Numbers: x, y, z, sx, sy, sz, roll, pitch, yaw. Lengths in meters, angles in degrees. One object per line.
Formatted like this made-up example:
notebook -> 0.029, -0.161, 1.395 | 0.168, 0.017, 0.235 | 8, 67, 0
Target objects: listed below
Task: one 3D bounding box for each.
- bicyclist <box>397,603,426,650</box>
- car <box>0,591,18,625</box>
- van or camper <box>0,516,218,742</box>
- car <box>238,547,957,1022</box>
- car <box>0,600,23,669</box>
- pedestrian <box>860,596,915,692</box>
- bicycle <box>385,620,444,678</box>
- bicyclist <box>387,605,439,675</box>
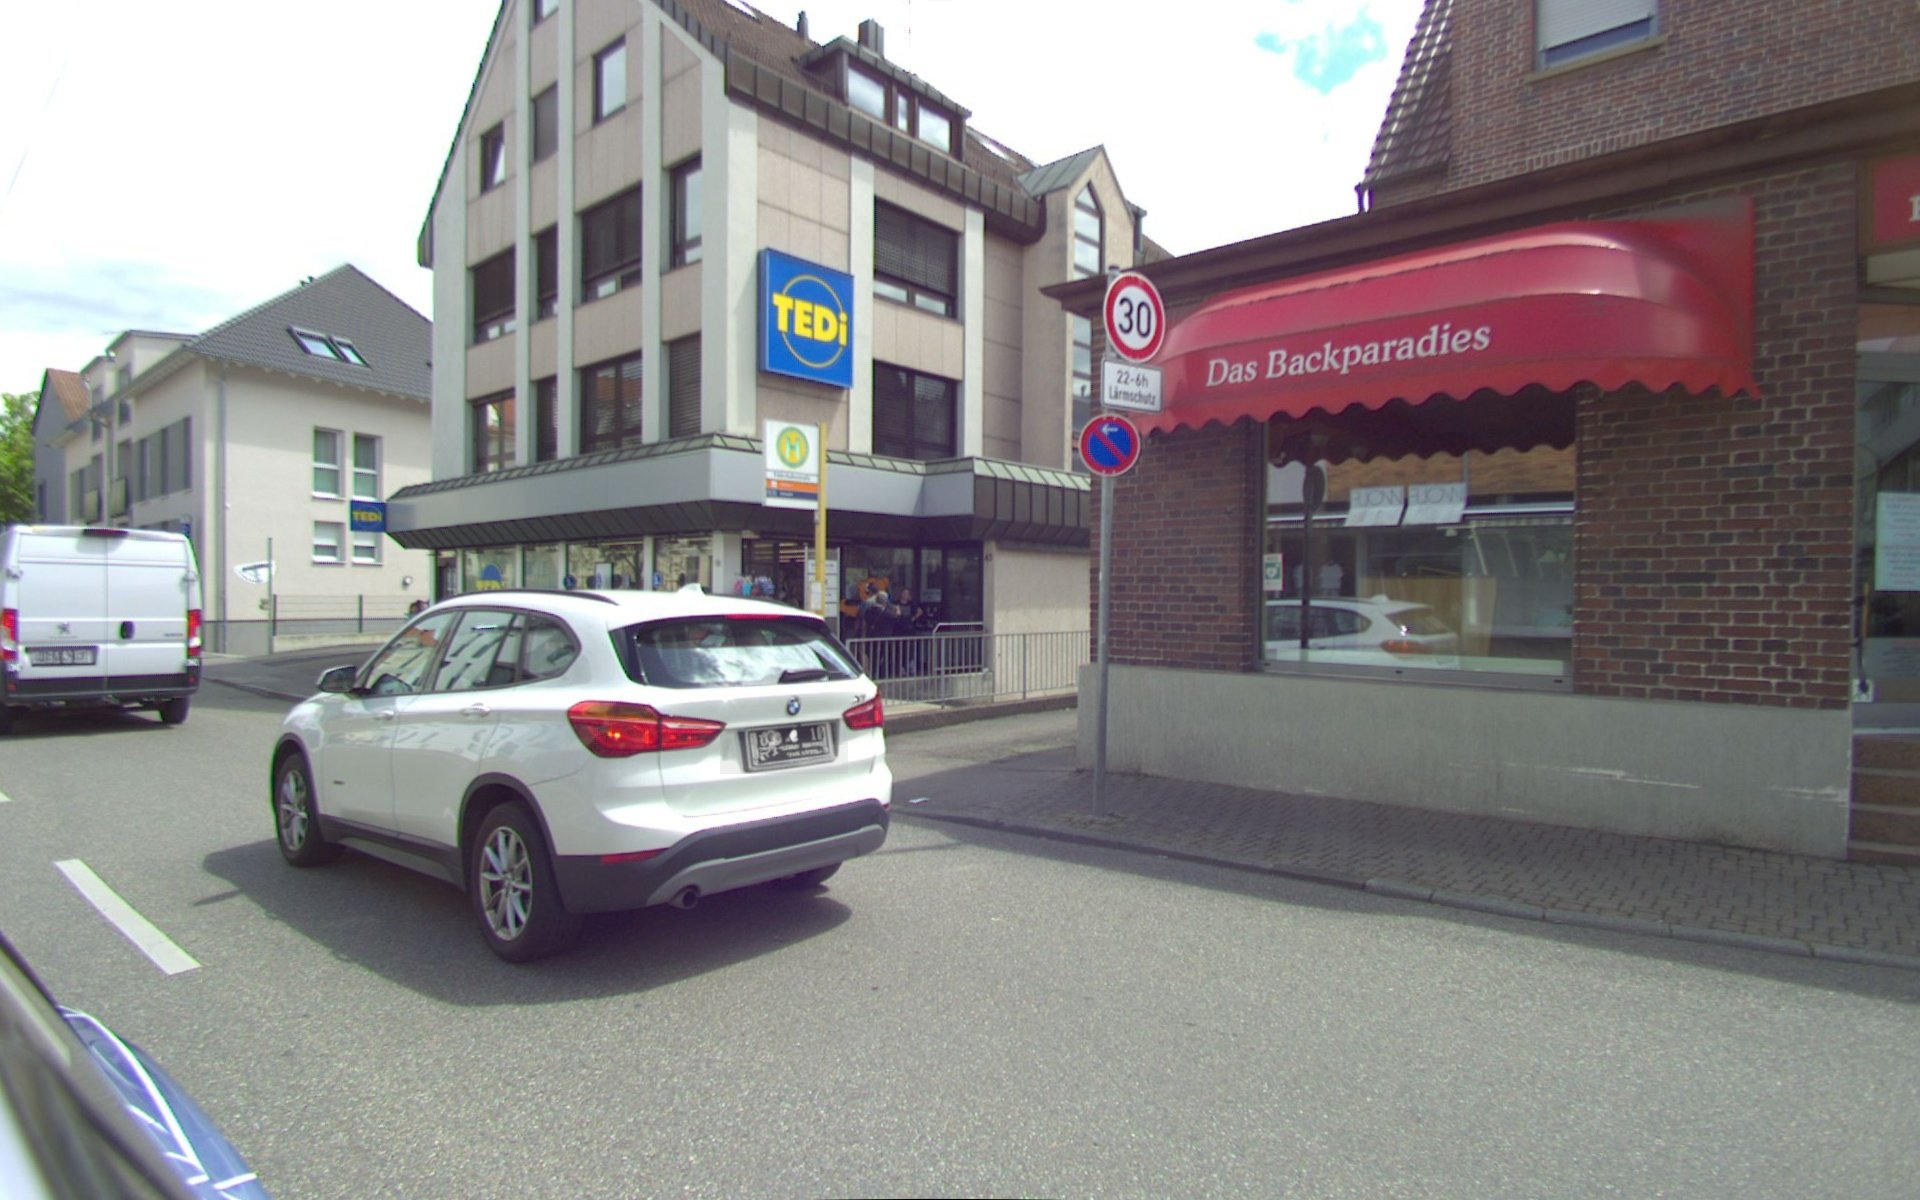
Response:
bicyclist -> -15.078, 0.724, 27.842 | 0.631, 1.251, 0.428 | 0, 1, -16
car -> -39.659, 0.312, 41.162 | 3.472, 1.340, 1.644 | 0, -1, 42
van or camper -> -12.395, 0.389, 14.040 | 5.433, 2.576, 2.127 | -1, -2, 40
car -> -2.208, 0.670, 5.557 | 4.215, 1.652, 1.763 | 0, -2, 39
car -> -22.927, 0.762, 23.031 | 3.839, 1.522, 1.774 | 0, -1, 38
pedestrian -> -1.236, 0.725, 17.265 | 0.773, 1.570, 0.566 | 3, 3, 43
bicycle -> -11.153, 0.982, 20.684 | 1.733, 1.057, 0.439 | 2, 4, 41
bicyclist -> -11.204, 0.800, 20.733 | 0.761, 1.347, 0.660 | 2, 4, 41
